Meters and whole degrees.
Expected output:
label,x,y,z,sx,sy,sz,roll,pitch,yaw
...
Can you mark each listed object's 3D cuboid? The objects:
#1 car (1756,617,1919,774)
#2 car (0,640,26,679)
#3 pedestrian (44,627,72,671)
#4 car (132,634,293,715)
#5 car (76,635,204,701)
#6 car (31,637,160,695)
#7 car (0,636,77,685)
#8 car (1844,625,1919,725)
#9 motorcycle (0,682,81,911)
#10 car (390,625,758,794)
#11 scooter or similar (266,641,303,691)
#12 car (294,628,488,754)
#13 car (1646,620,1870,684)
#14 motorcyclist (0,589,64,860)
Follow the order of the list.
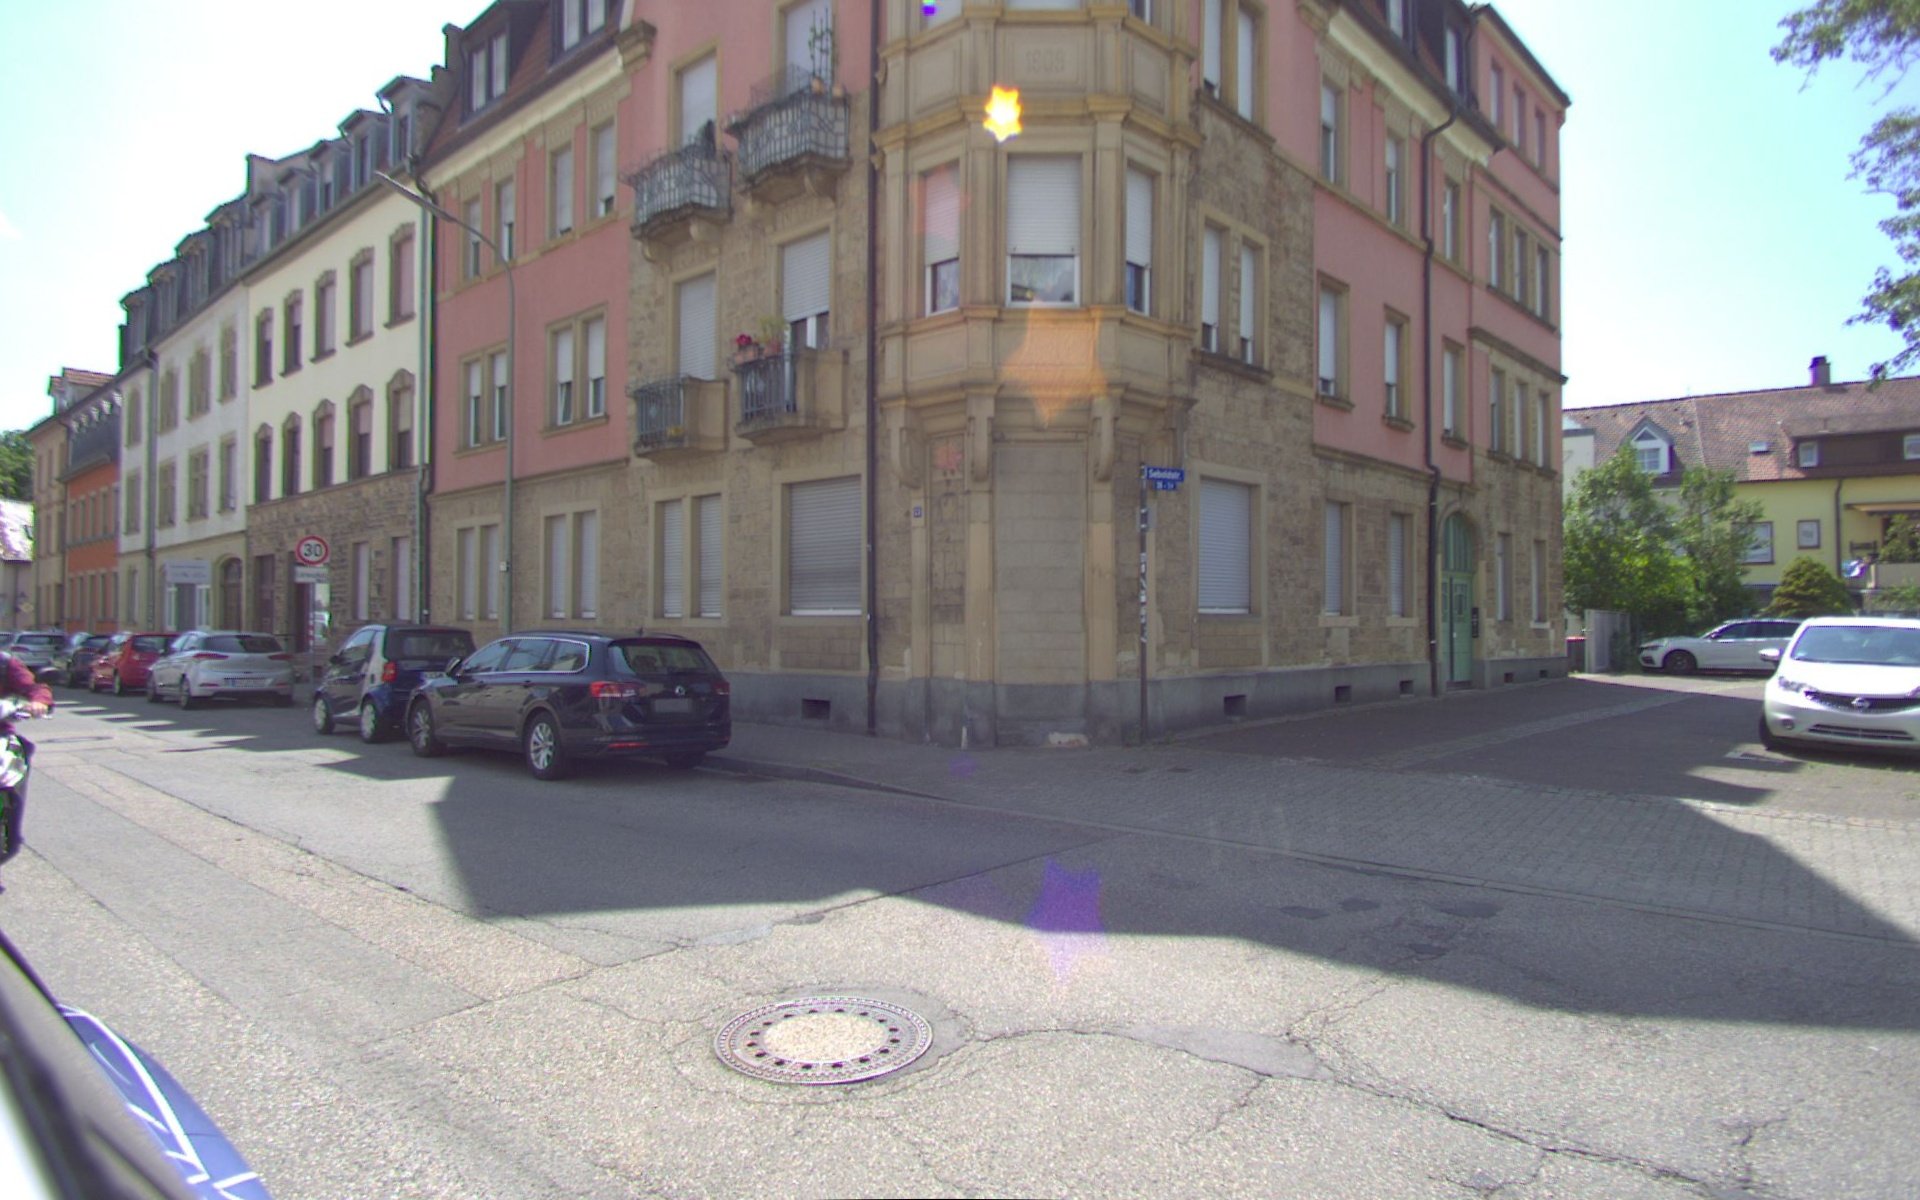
label,x,y,z,sx,sy,sz,roll,pitch,yaw
car,10.572,0.972,11.624,1.869,1.514,3.943,-2,-2,43
car,-37.601,2.271,39.072,3.849,1.470,1.693,-2,-4,39
pedestrian,-37.633,2.049,42.213,0.763,1.784,0.761,-2,-1,39
car,-14.844,1.426,20.032,4.015,1.442,1.618,-2,-4,40
car,-19.286,1.549,23.767,3.490,1.453,1.583,-2,-3,38
car,-23.287,1.722,27.217,4.213,1.449,1.854,-2,-3,38
car,-30.880,1.954,33.437,4.377,1.522,1.859,-2,-3,40
car,15.011,1.121,15.680,1.804,1.409,3.942,-2,-3,43
motorcycle,-5.579,1.036,5.606,1.990,1.063,0.750,-2,-2,39
car,-4.374,1.027,11.082,4.632,1.469,1.764,-1,-3,41
scooter or similar,-16.929,1.637,25.349,1.318,1.230,0.371,-2,-3,40
car,-7.848,1.170,13.913,2.693,1.534,1.422,-1,-3,39
car,20.018,1.276,25.646,4.274,1.466,1.653,-1,0,34
motorcyclist,-5.632,0.680,5.653,1.019,1.451,0.783,-2,-2,39
